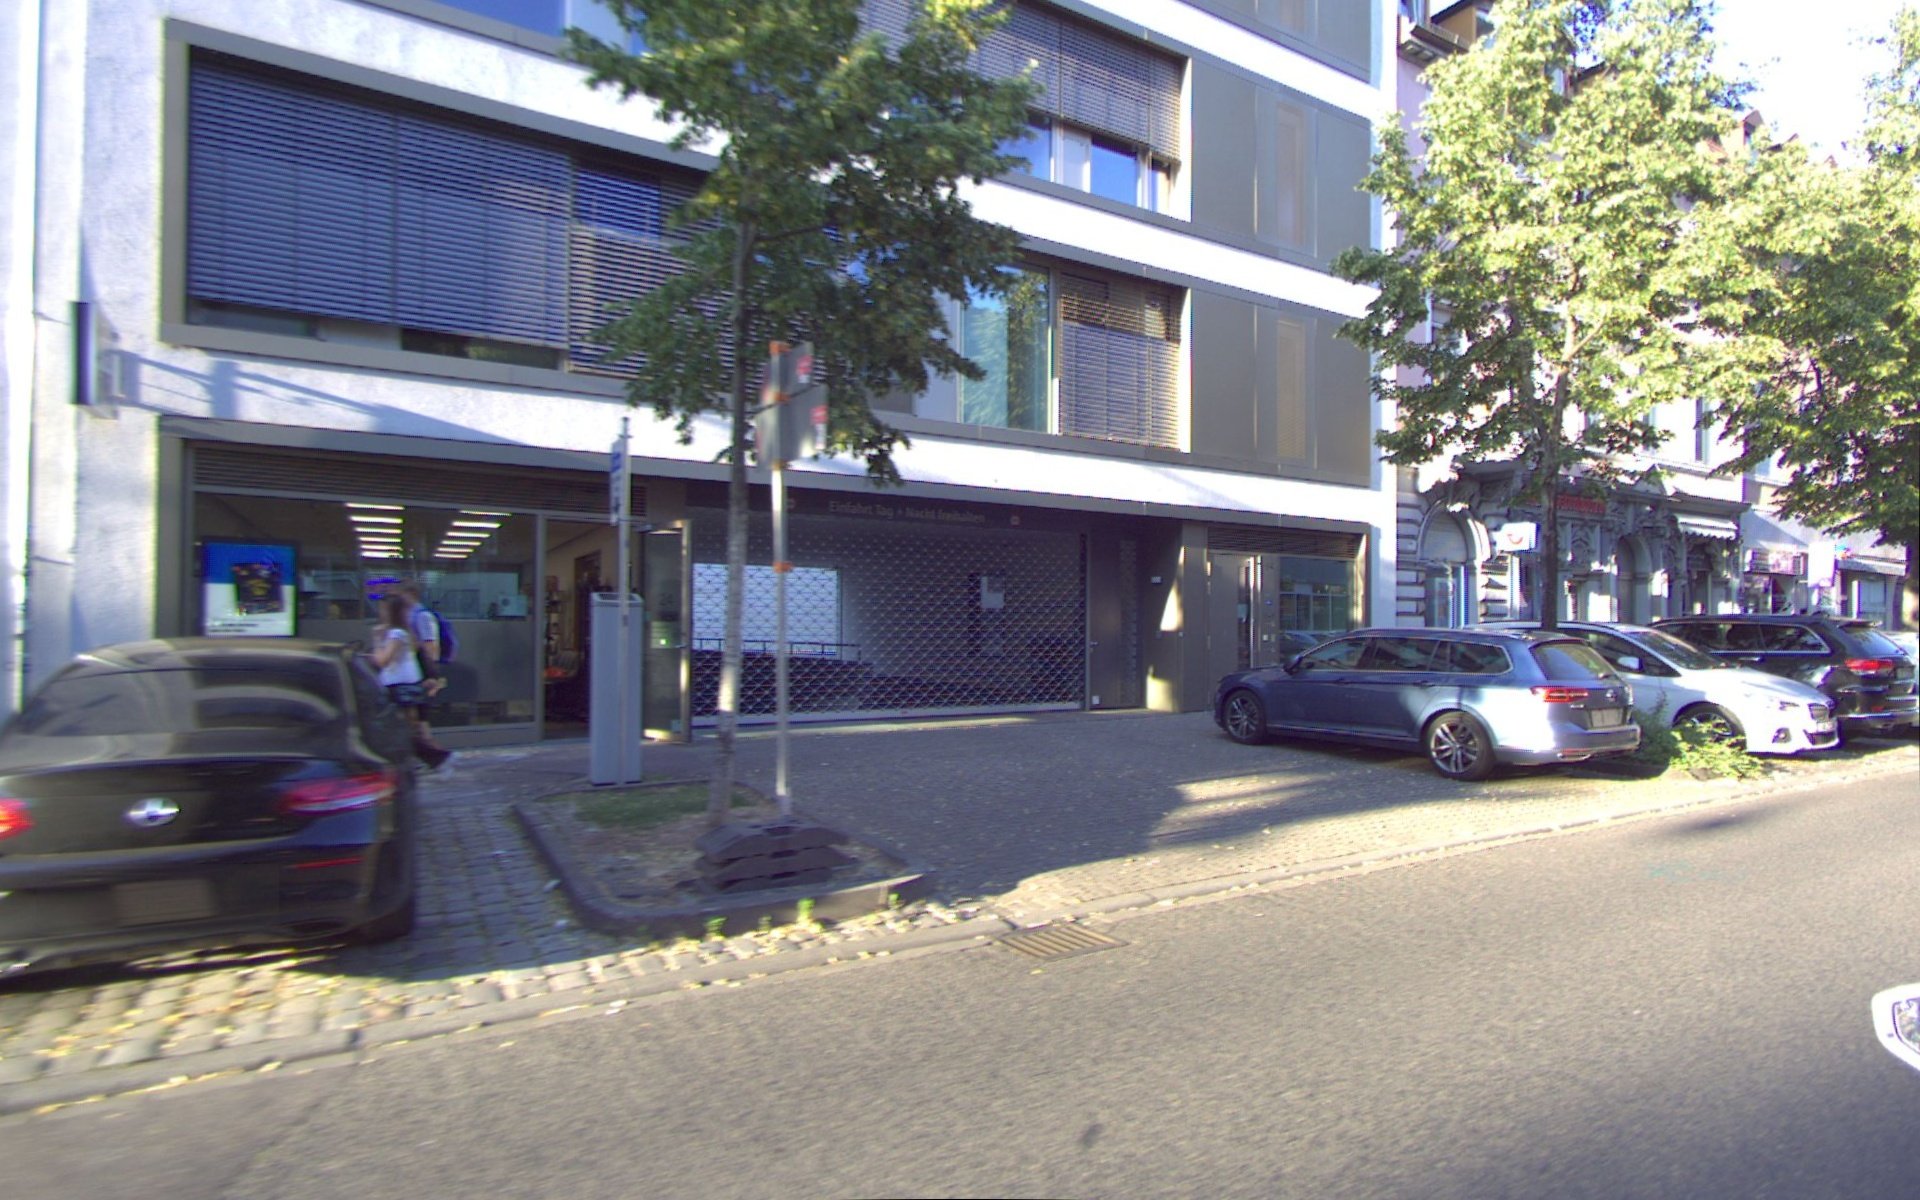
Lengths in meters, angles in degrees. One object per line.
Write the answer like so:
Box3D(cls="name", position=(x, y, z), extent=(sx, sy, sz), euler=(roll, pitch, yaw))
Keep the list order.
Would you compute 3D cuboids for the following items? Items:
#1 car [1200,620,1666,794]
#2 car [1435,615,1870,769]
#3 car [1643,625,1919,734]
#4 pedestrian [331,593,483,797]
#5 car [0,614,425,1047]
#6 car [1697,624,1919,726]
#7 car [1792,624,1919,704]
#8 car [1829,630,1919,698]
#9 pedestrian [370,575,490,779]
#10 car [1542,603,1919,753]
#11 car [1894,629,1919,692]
Box3D(cls="car", position=(4.974, 0.994, 11.261), extent=(1.725, 1.504, 4.522), euler=(1, -1, -33))
Box3D(cls="car", position=(8.846, 1.031, 13.276), extent=(1.868, 1.617, 4.384), euler=(0, 0, -31))
Box3D(cls="car", position=(13.347, 1.166, 15.671), extent=(1.747, 1.440, 4.126), euler=(1, -1, -32))
Box3D(cls="pedestrian", position=(-4.723, 0.768, 8.612), extent=(1.081, 1.624, 0.715), euler=(1, 1, -30))
Box3D(cls="car", position=(-4.012, 0.841, 5.596), extent=(1.723, 1.504, 4.255), euler=(1, -1, -29))
Box3D(cls="car", position=(14.976, 1.207, 17.106), extent=(1.696, 1.522, 3.538), euler=(1, -1, -31))
Box3D(cls="car", position=(18.753, 1.238, 19.449), extent=(1.786, 1.463, 3.717), euler=(1, -1, -32))
Box3D(cls="car", position=(21.230, 1.362, 21.151), extent=(1.820, 1.422, 4.081), euler=(1, -1, -28))
Box3D(cls="pedestrian", position=(-4.887, 0.672, 9.263), extent=(0.923, 1.773, 0.715), euler=(1, 1, -30))
Box3D(cls="car", position=(10.926, 0.959, 14.353), extent=(1.869, 1.796, 4.126), euler=(1, -1, -32))
Box3D(cls="car", position=(23.342, 1.390, 21.870), extent=(1.863, 1.422, 4.084), euler=(1, 0, -32))
